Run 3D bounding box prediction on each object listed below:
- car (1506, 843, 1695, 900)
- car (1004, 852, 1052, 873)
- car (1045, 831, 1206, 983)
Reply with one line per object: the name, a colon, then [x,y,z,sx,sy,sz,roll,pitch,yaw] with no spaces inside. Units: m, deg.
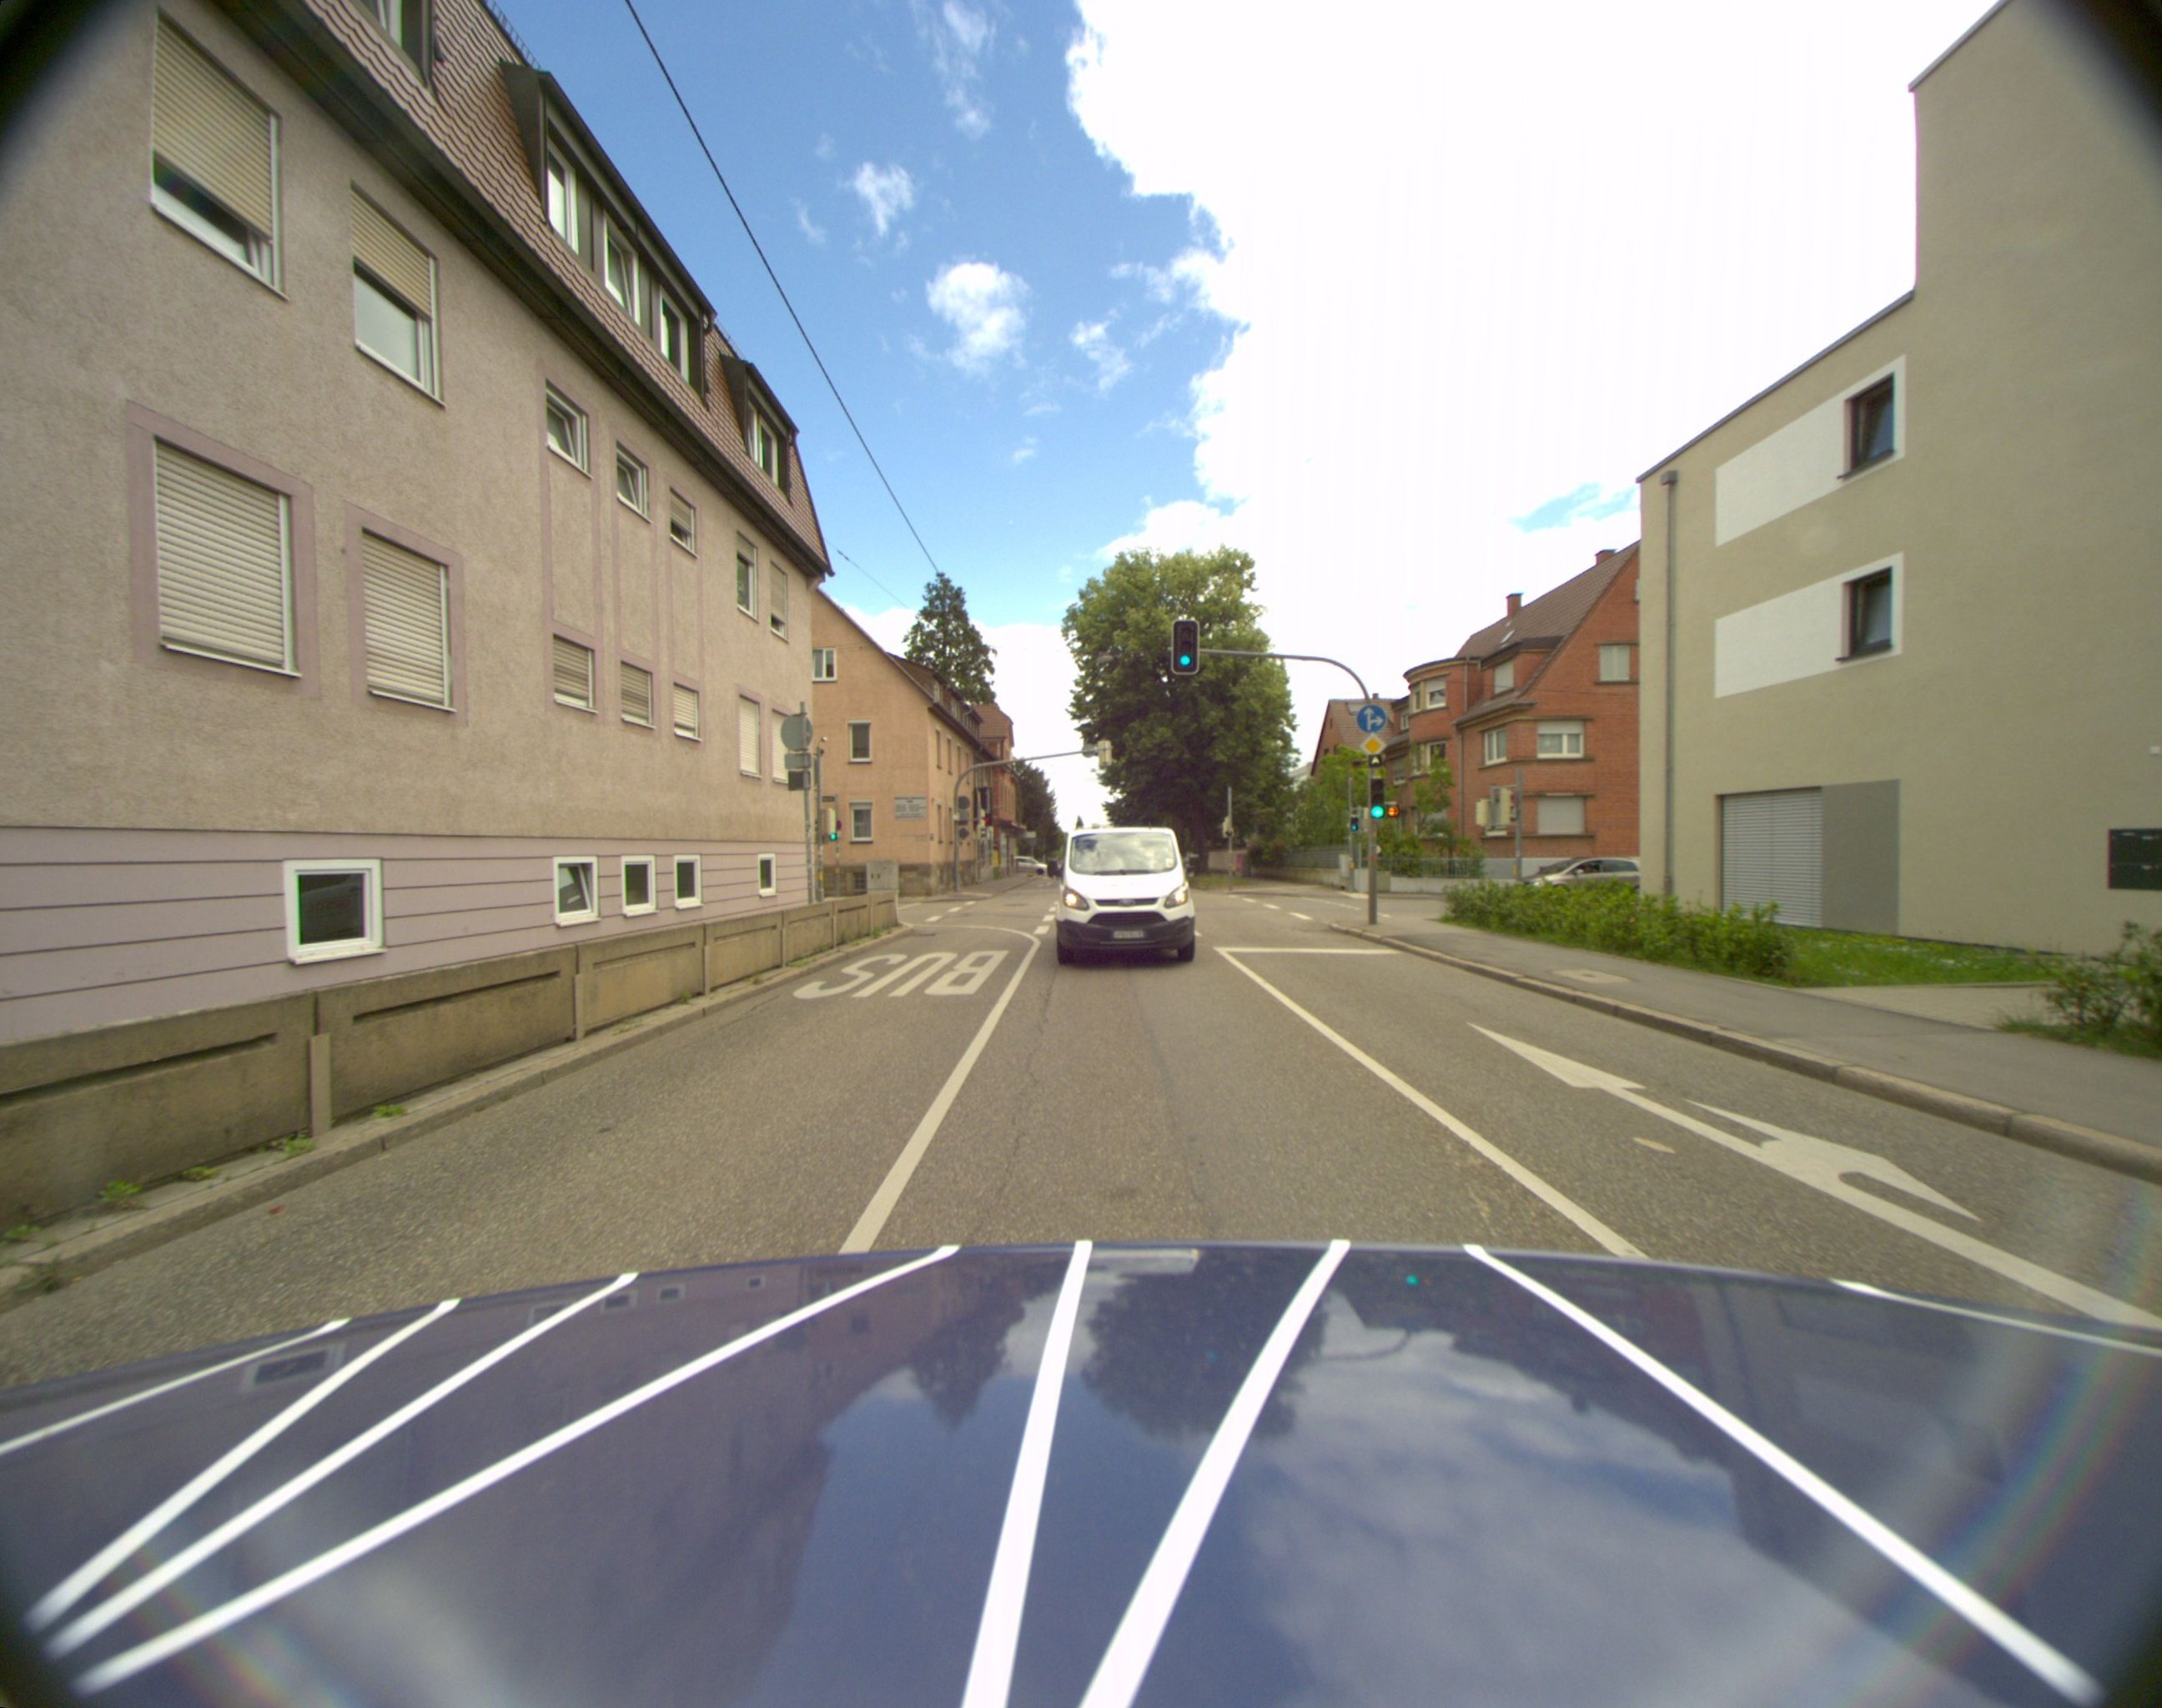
car: [16.992,0.543,25.007,4.813,1.675,2.175,-1,1,-4]
car: [-4.523,0.720,65.644,3.998,1.674,1.838,-2,1,-3]
car: [0.598,0.672,12.413,2.062,1.946,5.060,-1,0,0]
